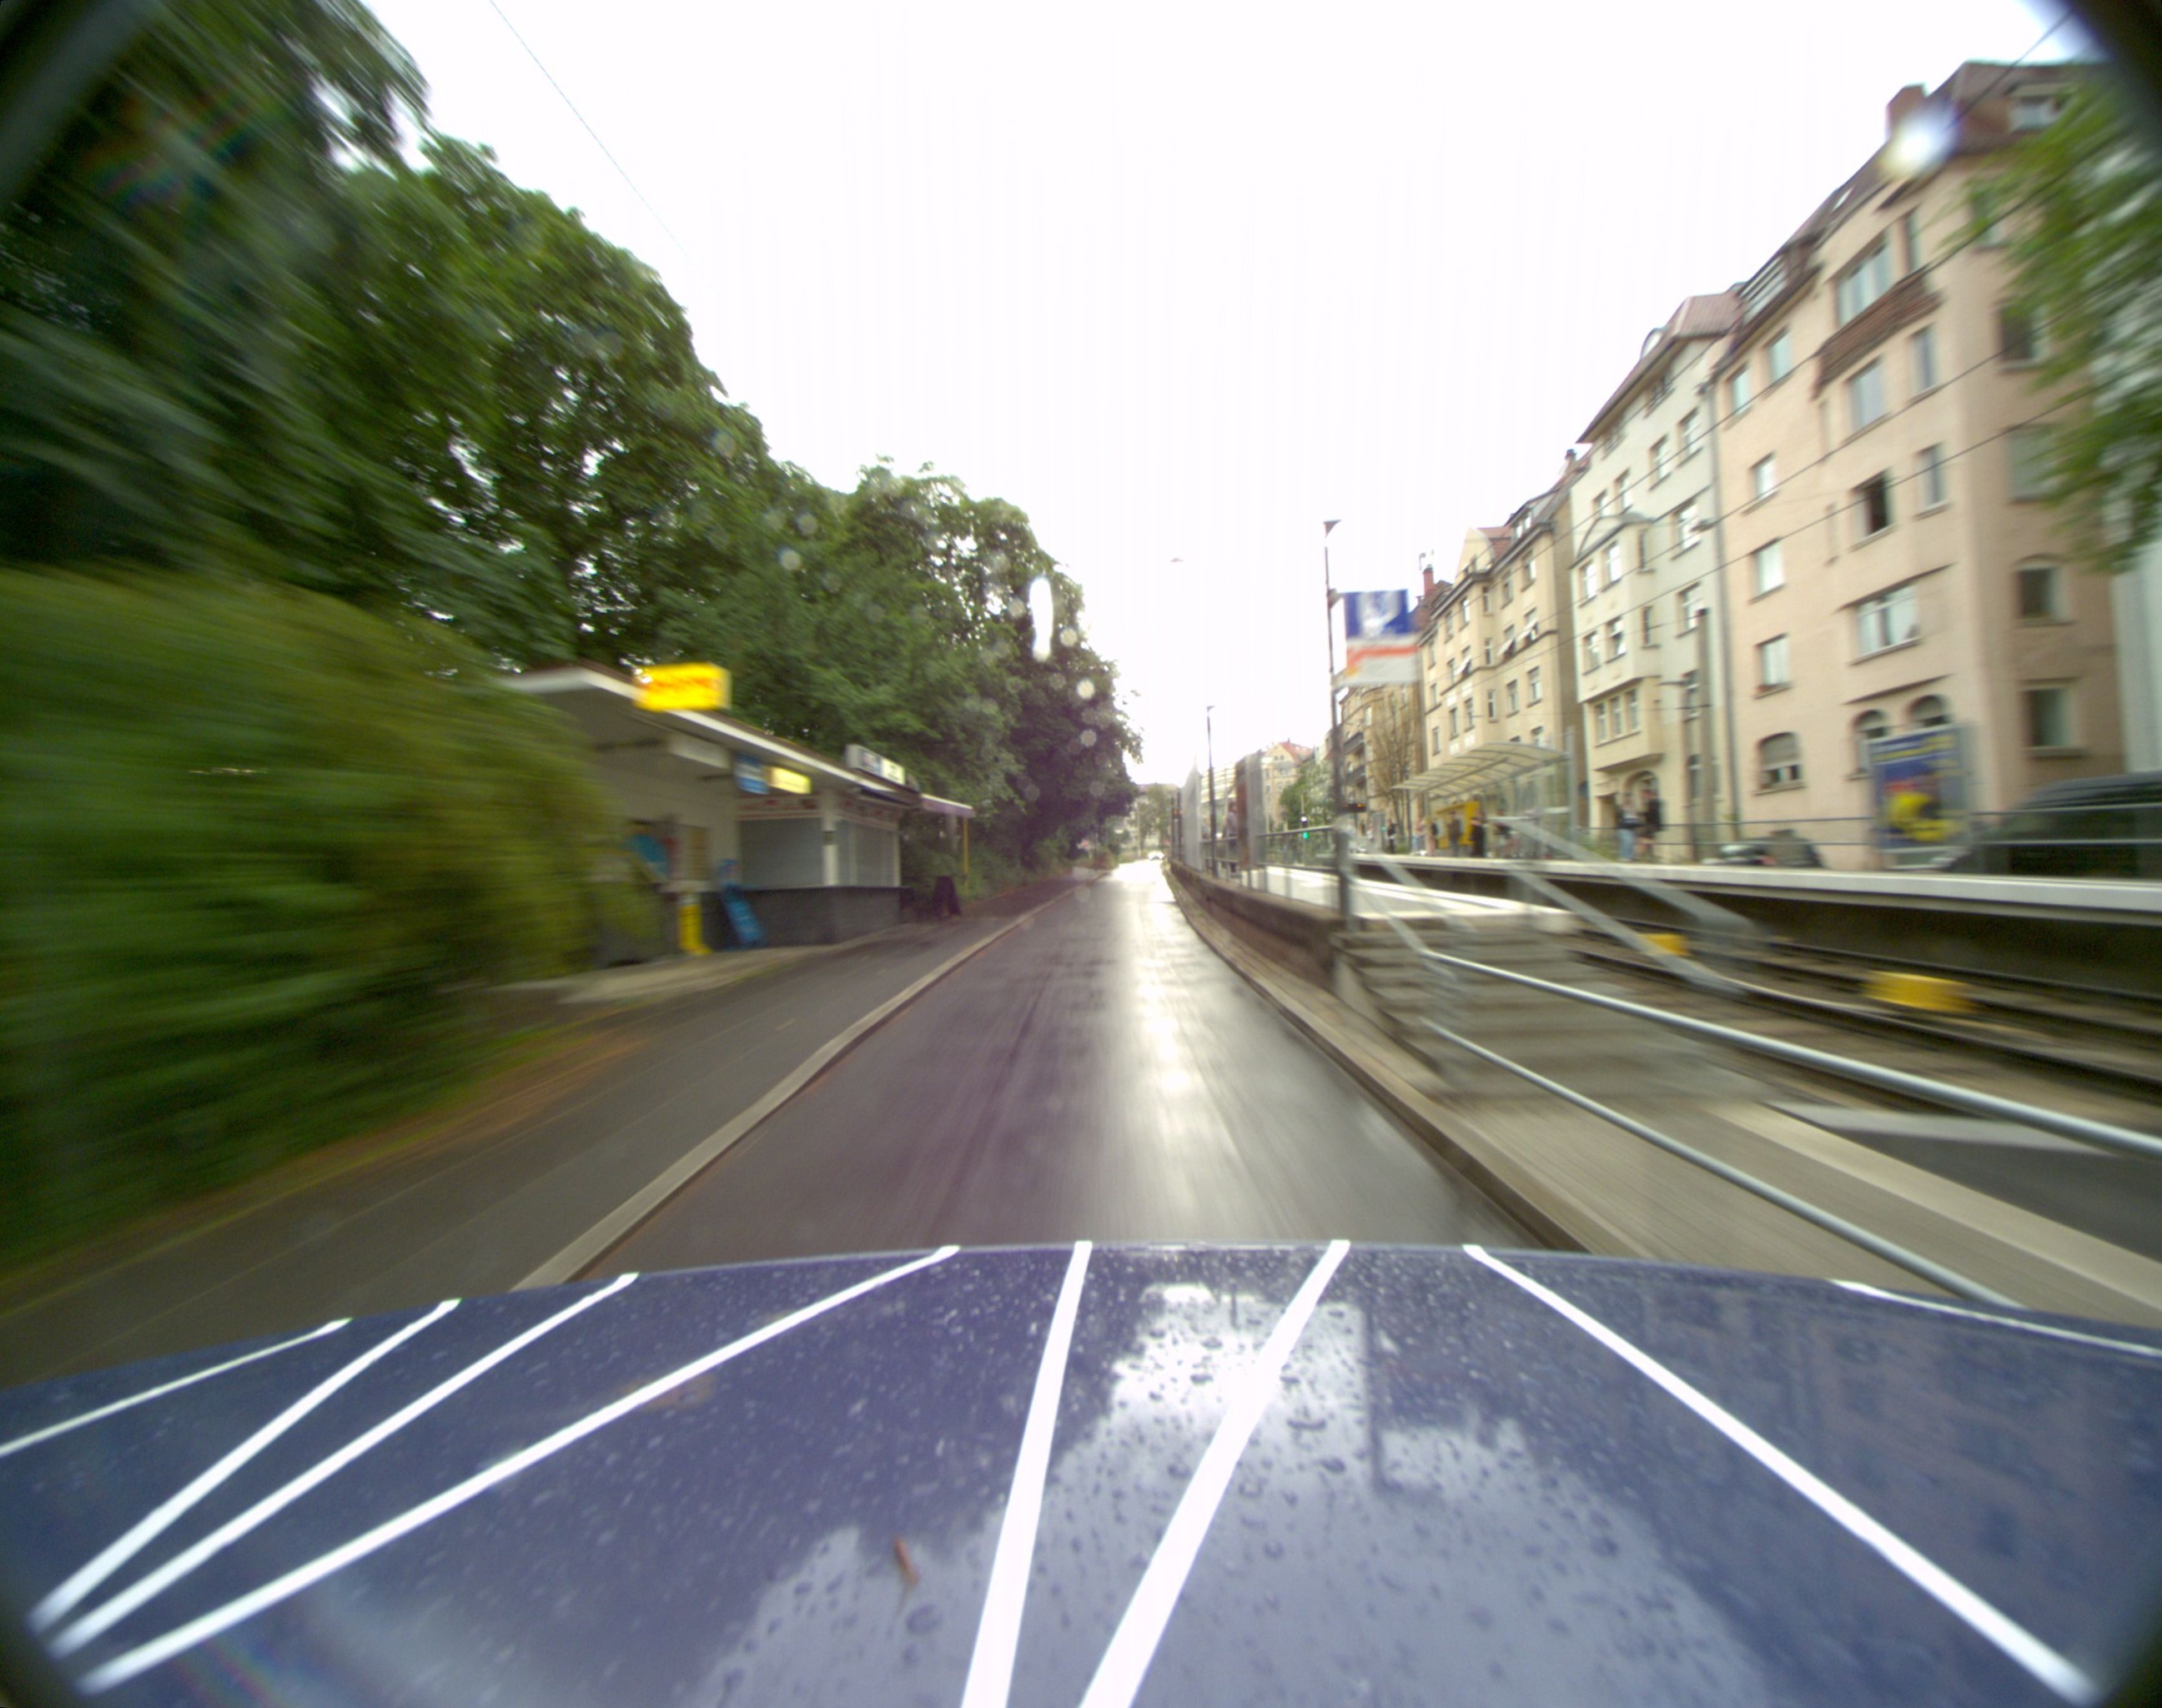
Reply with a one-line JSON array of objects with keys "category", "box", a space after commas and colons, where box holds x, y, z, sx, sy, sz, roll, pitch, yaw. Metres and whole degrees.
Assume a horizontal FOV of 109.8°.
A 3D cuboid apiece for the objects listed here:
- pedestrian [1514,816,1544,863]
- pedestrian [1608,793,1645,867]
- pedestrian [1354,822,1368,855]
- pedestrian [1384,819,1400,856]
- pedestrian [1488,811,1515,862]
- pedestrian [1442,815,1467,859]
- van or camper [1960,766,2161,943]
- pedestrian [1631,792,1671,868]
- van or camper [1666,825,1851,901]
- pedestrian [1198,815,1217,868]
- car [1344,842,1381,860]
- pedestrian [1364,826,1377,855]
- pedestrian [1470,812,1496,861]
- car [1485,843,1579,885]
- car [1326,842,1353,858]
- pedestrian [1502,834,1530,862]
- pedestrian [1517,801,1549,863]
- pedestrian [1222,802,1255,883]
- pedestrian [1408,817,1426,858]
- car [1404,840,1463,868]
[{"category": "pedestrian", "box": [13.553, -0.437, 22.976, 0.551, 1.405, 0.614, 0, 1, 5]}, {"category": "pedestrian", "box": [13.107, -0.570, 18.263, 0.483, 1.731, 0.563, 0, 2, 5]}, {"category": "pedestrian", "box": [15.745, -0.859, 42.769, 0.562, 1.839, 0.599, 0, 2, 5]}, {"category": "pedestrian", "box": [15.492, -0.810, 37.893, 0.517, 1.827, 0.762, 0, 2, 5]}, {"category": "pedestrian", "box": [13.828, -0.576, 25.013, 0.551, 1.656, 0.614, 0, 2, 5]}, {"category": "pedestrian", "box": [13.997, -0.634, 28.490, 0.595, 1.656, 0.762, 0, 1, 5]}, {"category": "van or camper", "box": [18.038, 0.006, 12.303, 1.998, 2.789, 4.863, 0, 0, 1]}, {"category": "pedestrian", "box": [13.232, -0.559, 17.659, 0.483, 1.731, 0.563, 0, 2, 5]}, {"category": "van or camper", "box": [19.398, 0.245, 22.035, 1.998, 2.002, 4.001, 0, 0, 5]}, {"category": "pedestrian", "box": [4.595, -0.449, 27.608, 0.591, 1.870, 0.711, -2, 1, 4]}, {"category": "car", "box": [24.026, -0.258, 64.928, 1.721, 1.434, 4.869, -1, 1, 5]}, {"category": "pedestrian", "box": [16.047, -0.727, 42.163, 0.517, 1.596, 0.563, 0, 2, 5]}, {"category": "pedestrian", "box": [13.832, -0.595, 26.145, 0.595, 1.656, 0.591, 0, 2, 5]}, {"category": "car", "box": [20.441, 0.384, 34.702, 1.997, 1.722, 4.815, 0, 1, 8]}, {"category": "car", "box": [25.257, -0.416, 74.373, 1.634, 1.538, 4.176, -1, 1, 6]}, {"category": "pedestrian", "box": [13.673, -0.183, 23.874, 0.551, 0.867, 0.614, 0, 1, 5]}, {"category": "pedestrian", "box": [12.951, -0.631, 21.772, 0.551, 1.731, 0.614, 0, 2, 5]}, {"category": "pedestrian", "box": [3.606, -0.253, 17.395, 0.591, 1.797, 0.661, -2, 1, 4]}, {"category": "pedestrian", "box": [15.185, -0.750, 34.365, 0.517, 1.827, 0.762, 0, 2, 5]}, {"category": "car", "box": [22.539, -0.061, 48.758, 1.998, 1.524, 4.533, -3, 2, 6]}]
